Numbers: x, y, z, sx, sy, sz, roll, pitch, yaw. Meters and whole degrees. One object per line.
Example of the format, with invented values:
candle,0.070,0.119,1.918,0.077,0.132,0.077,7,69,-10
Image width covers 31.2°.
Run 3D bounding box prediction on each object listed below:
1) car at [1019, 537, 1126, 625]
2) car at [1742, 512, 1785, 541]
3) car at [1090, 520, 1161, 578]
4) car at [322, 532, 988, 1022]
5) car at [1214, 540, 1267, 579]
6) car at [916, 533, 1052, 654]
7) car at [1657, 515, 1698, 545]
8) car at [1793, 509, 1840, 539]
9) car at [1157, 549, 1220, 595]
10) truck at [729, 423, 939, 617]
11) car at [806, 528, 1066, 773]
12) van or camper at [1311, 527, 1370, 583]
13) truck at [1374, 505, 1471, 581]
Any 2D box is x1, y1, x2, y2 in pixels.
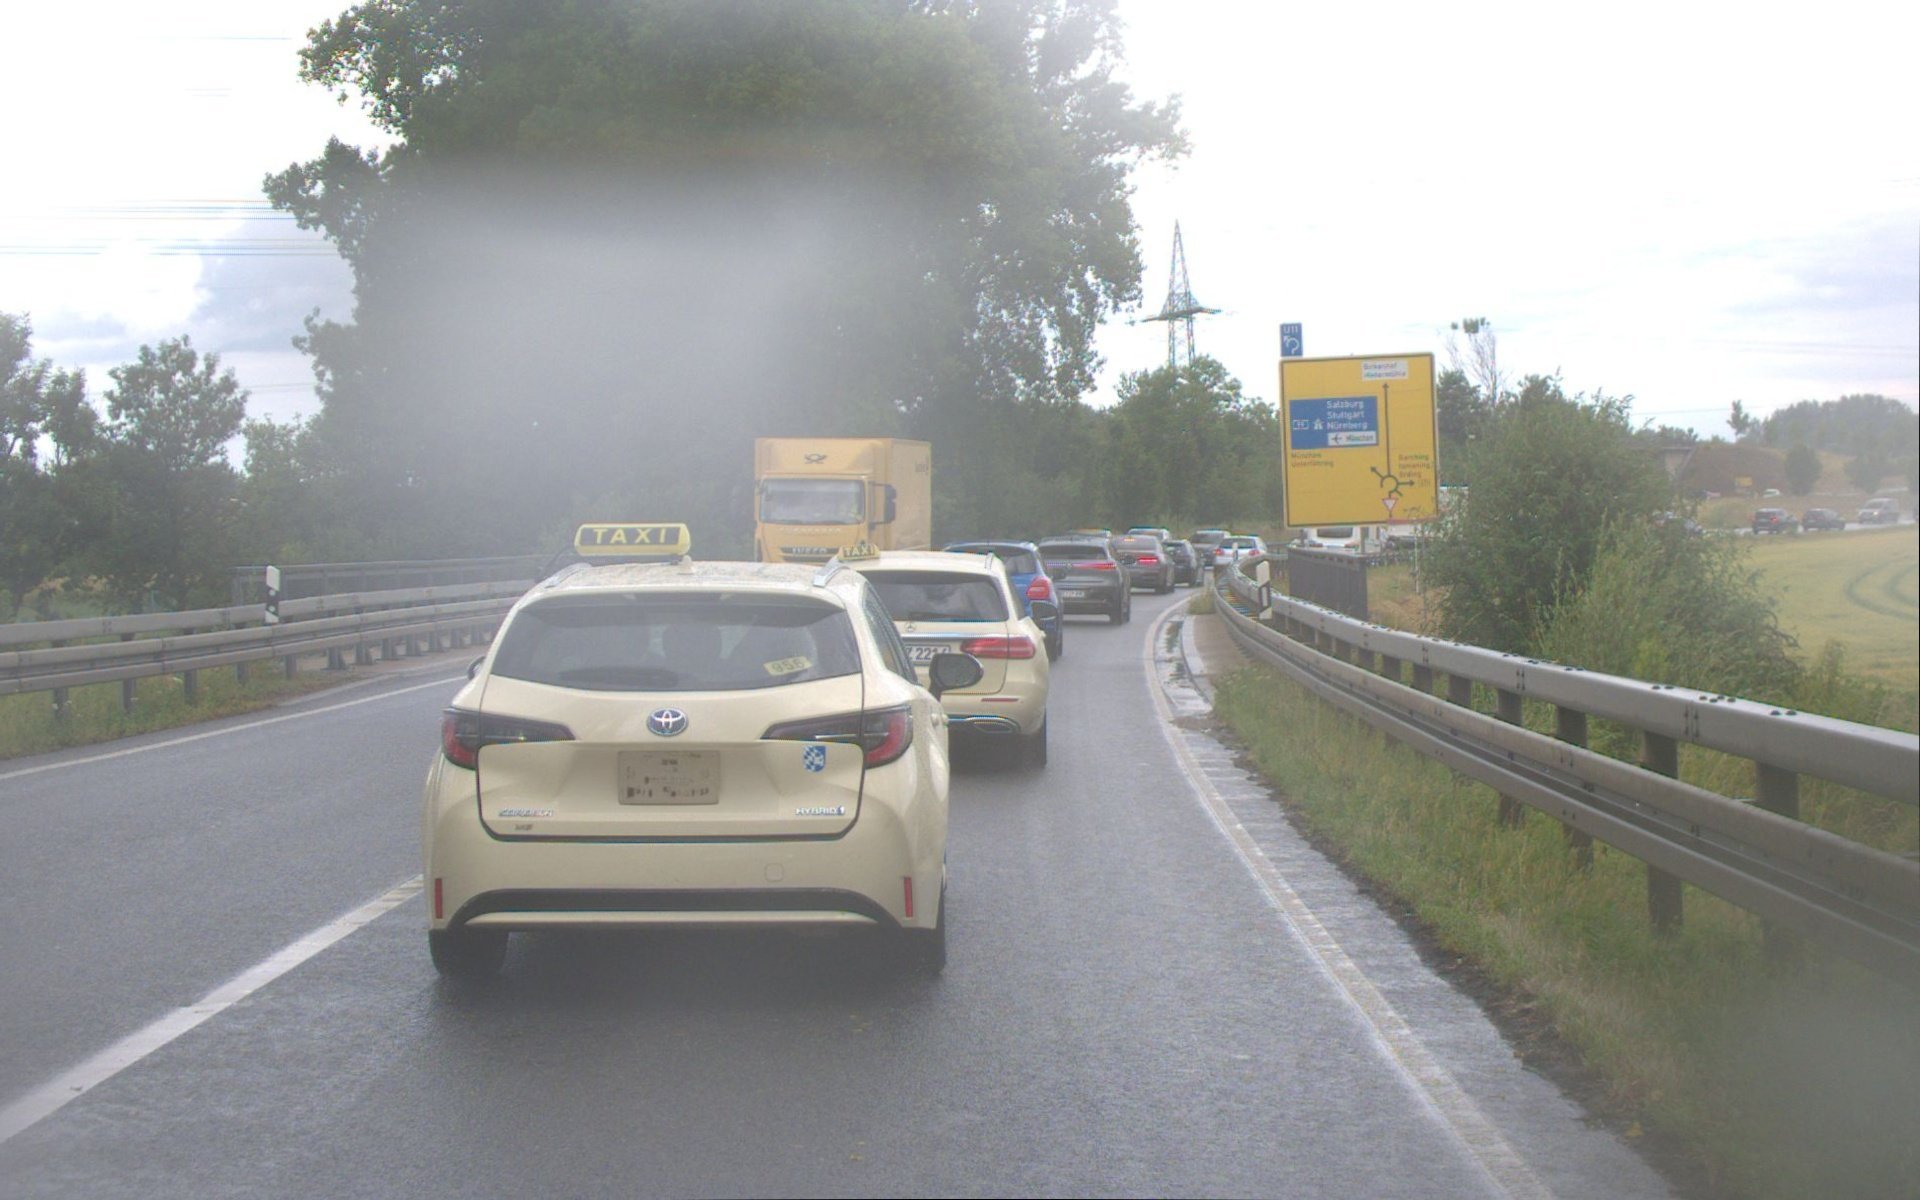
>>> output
car,1.960,-0.342,59.248,1.665,1.459,3.476,0,1,5
car,53.546,-4.887,229.129,1.821,1.831,3.983,1,0,28
car,4.233,-1.286,87.451,1.660,1.404,3.903,0,0,5
car,-0.948,0.522,12.882,1.906,1.532,4.161,0,1,3
car,9.684,-1.397,118.607,1.483,1.304,3.475,0,1,10
car,0.330,-0.104,42.712,1.506,1.432,3.355,0,1,3
car,44.553,-4.349,213.342,1.922,1.831,3.996,1,0,20
car,58.783,-5.192,235.939,1.997,2.007,3.993,1,1,31
car,6.747,-0.837,101.218,1.483,1.304,3.475,0,1,10
truck,-2.288,-1.485,66.084,2.771,3.417,9.185,1,1,5
car,-0.102,0.295,23.961,1.578,1.567,3.681,0,1,3
van or camper,15.786,-1.860,142.544,1.994,2.246,3.998,1,0,12
truck,22.189,-2.681,164.659,3.143,3.550,7.514,1,0,19
